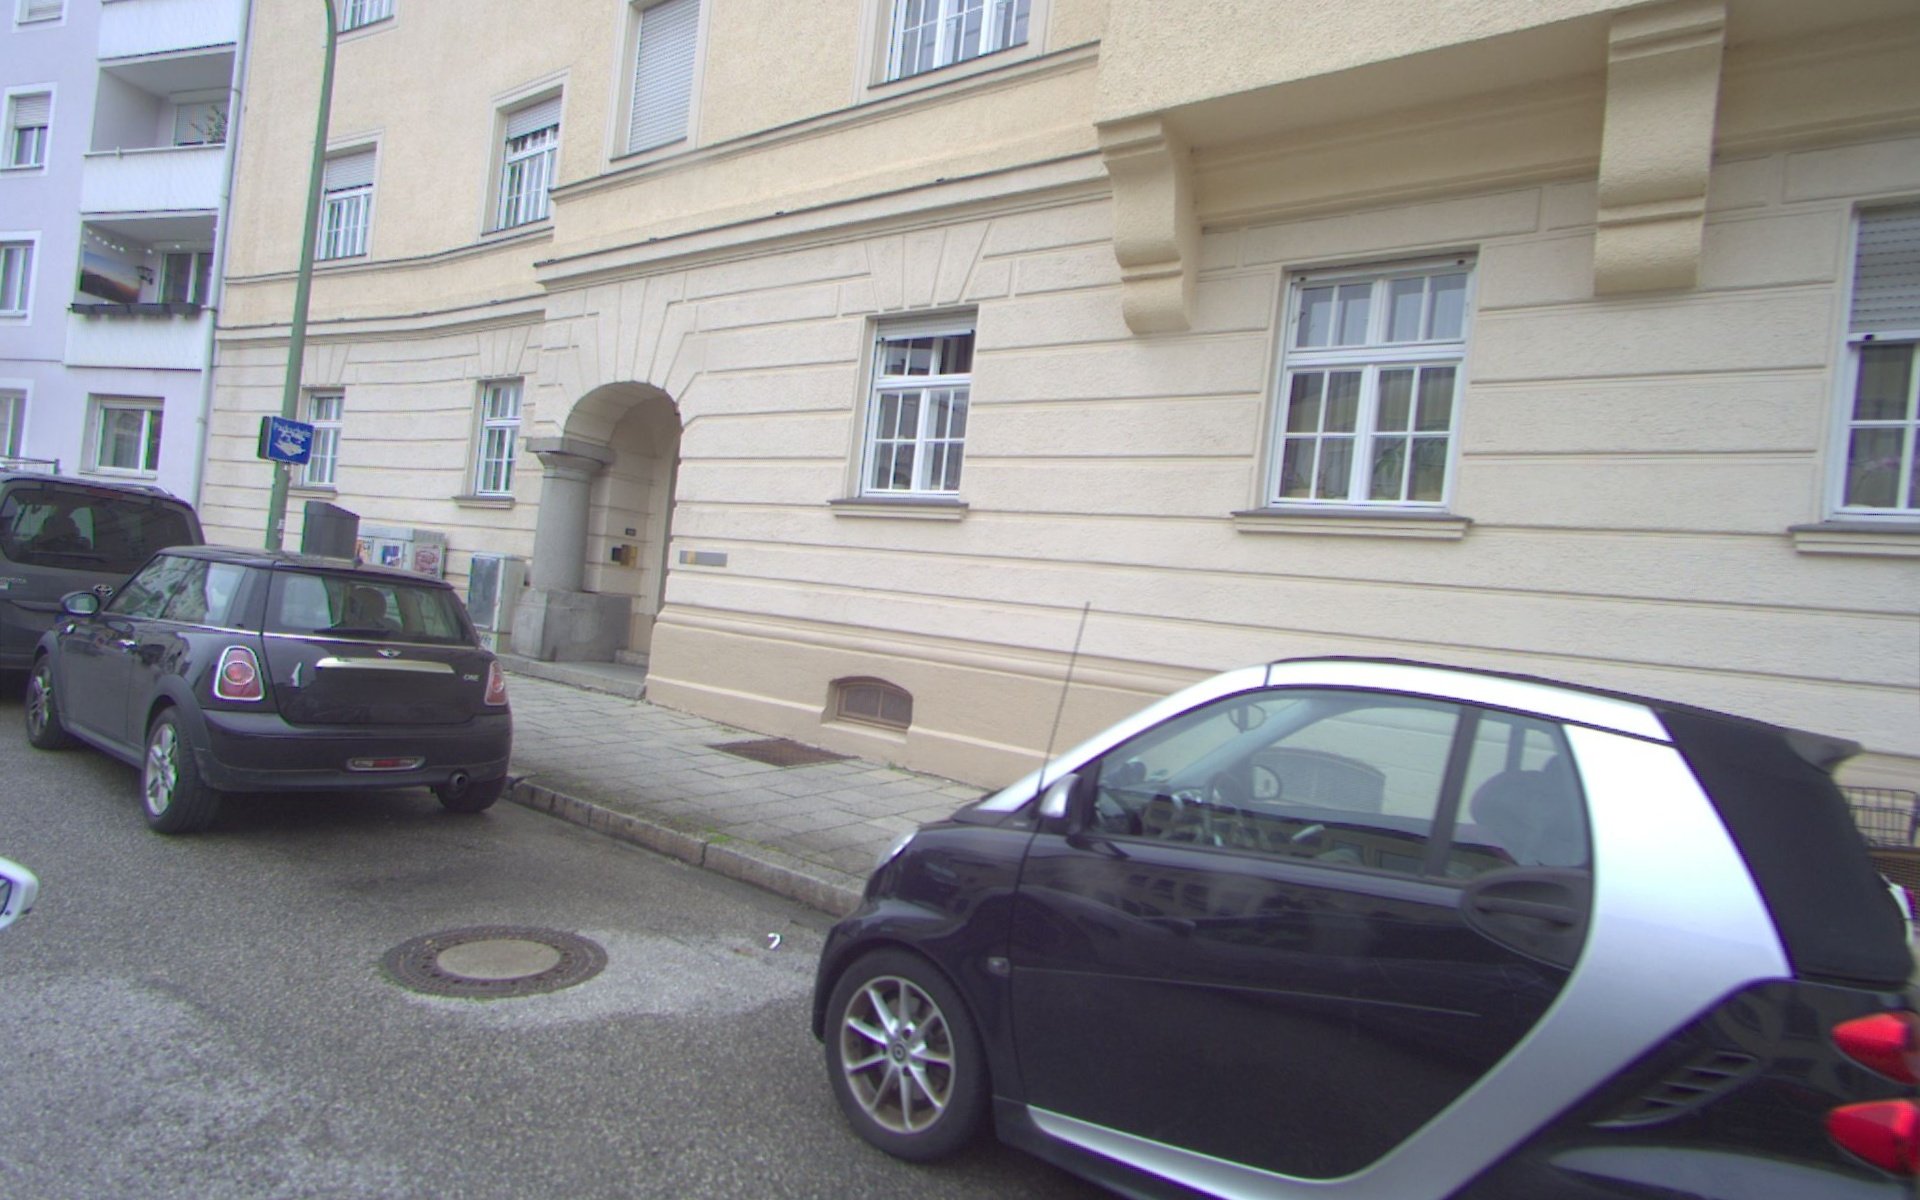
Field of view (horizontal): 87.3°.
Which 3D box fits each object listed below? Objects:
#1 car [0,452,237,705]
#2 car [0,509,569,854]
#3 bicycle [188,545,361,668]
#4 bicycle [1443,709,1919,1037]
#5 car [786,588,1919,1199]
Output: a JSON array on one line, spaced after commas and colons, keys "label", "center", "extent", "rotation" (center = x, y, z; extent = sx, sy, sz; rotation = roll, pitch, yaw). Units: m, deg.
[{"label": "car", "center": [-8.558, -0.293, 8.772], "extent": [4.201, 1.827, 1.783], "rotation": [6, -2, 27]}, {"label": "car", "center": [-4.376, 0.356, 6.325], "extent": [3.771, 1.464, 1.709], "rotation": [6, -2, 37]}, {"label": "bicycle", "center": [-6.988, 0.052, 10.228], "extent": [1.919, 1.027, 0.580], "rotation": [6, 0, 29]}, {"label": "bicycle", "center": [3.581, 1.254, 5.049], "extent": [1.922, 1.097, 0.578], "rotation": [6, 3, 35]}, {"label": "car", "center": [1.239, 0.933, 2.698], "extent": [3.063, 1.541, 1.536], "rotation": [6, -2, 37]}]
